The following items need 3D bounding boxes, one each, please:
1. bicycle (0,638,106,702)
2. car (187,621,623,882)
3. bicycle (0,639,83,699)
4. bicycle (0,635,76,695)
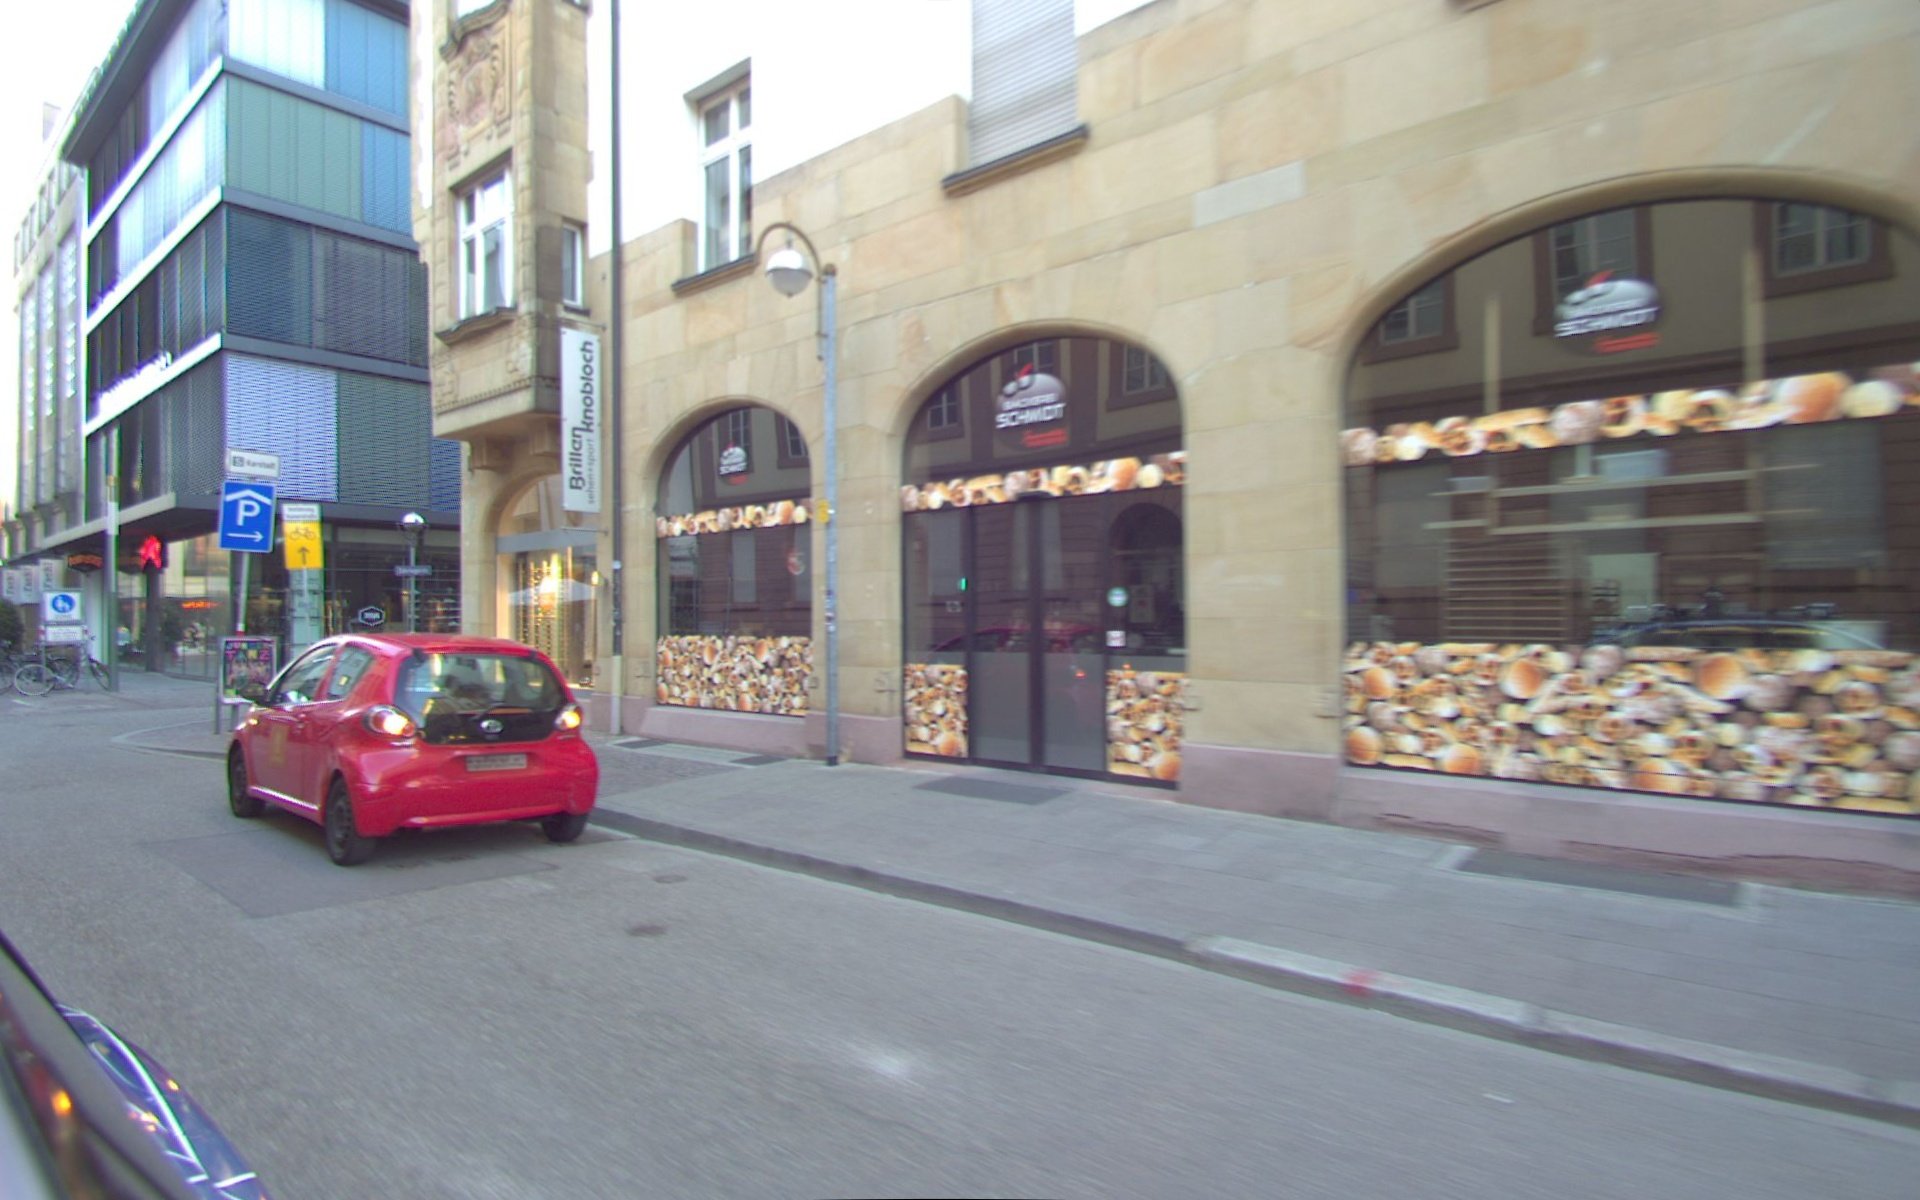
[{"bbox_3d":[-19.174,1.452,21.386,0.509,1.213,1.649,-2,0,39],"label":"bicycle"},{"bbox_3d":[-4.372,0.934,7.716,3.930,1.481,1.640,-1,-4,42],"label":"car"},{"bbox_3d":[-20.501,1.520,22.149,0.517,1.190,1.879,-4,-1,39],"label":"bicycle"},{"bbox_3d":[-22.366,1.554,24.086,0.538,1.279,1.878,-2,2,41],"label":"bicycle"}]
